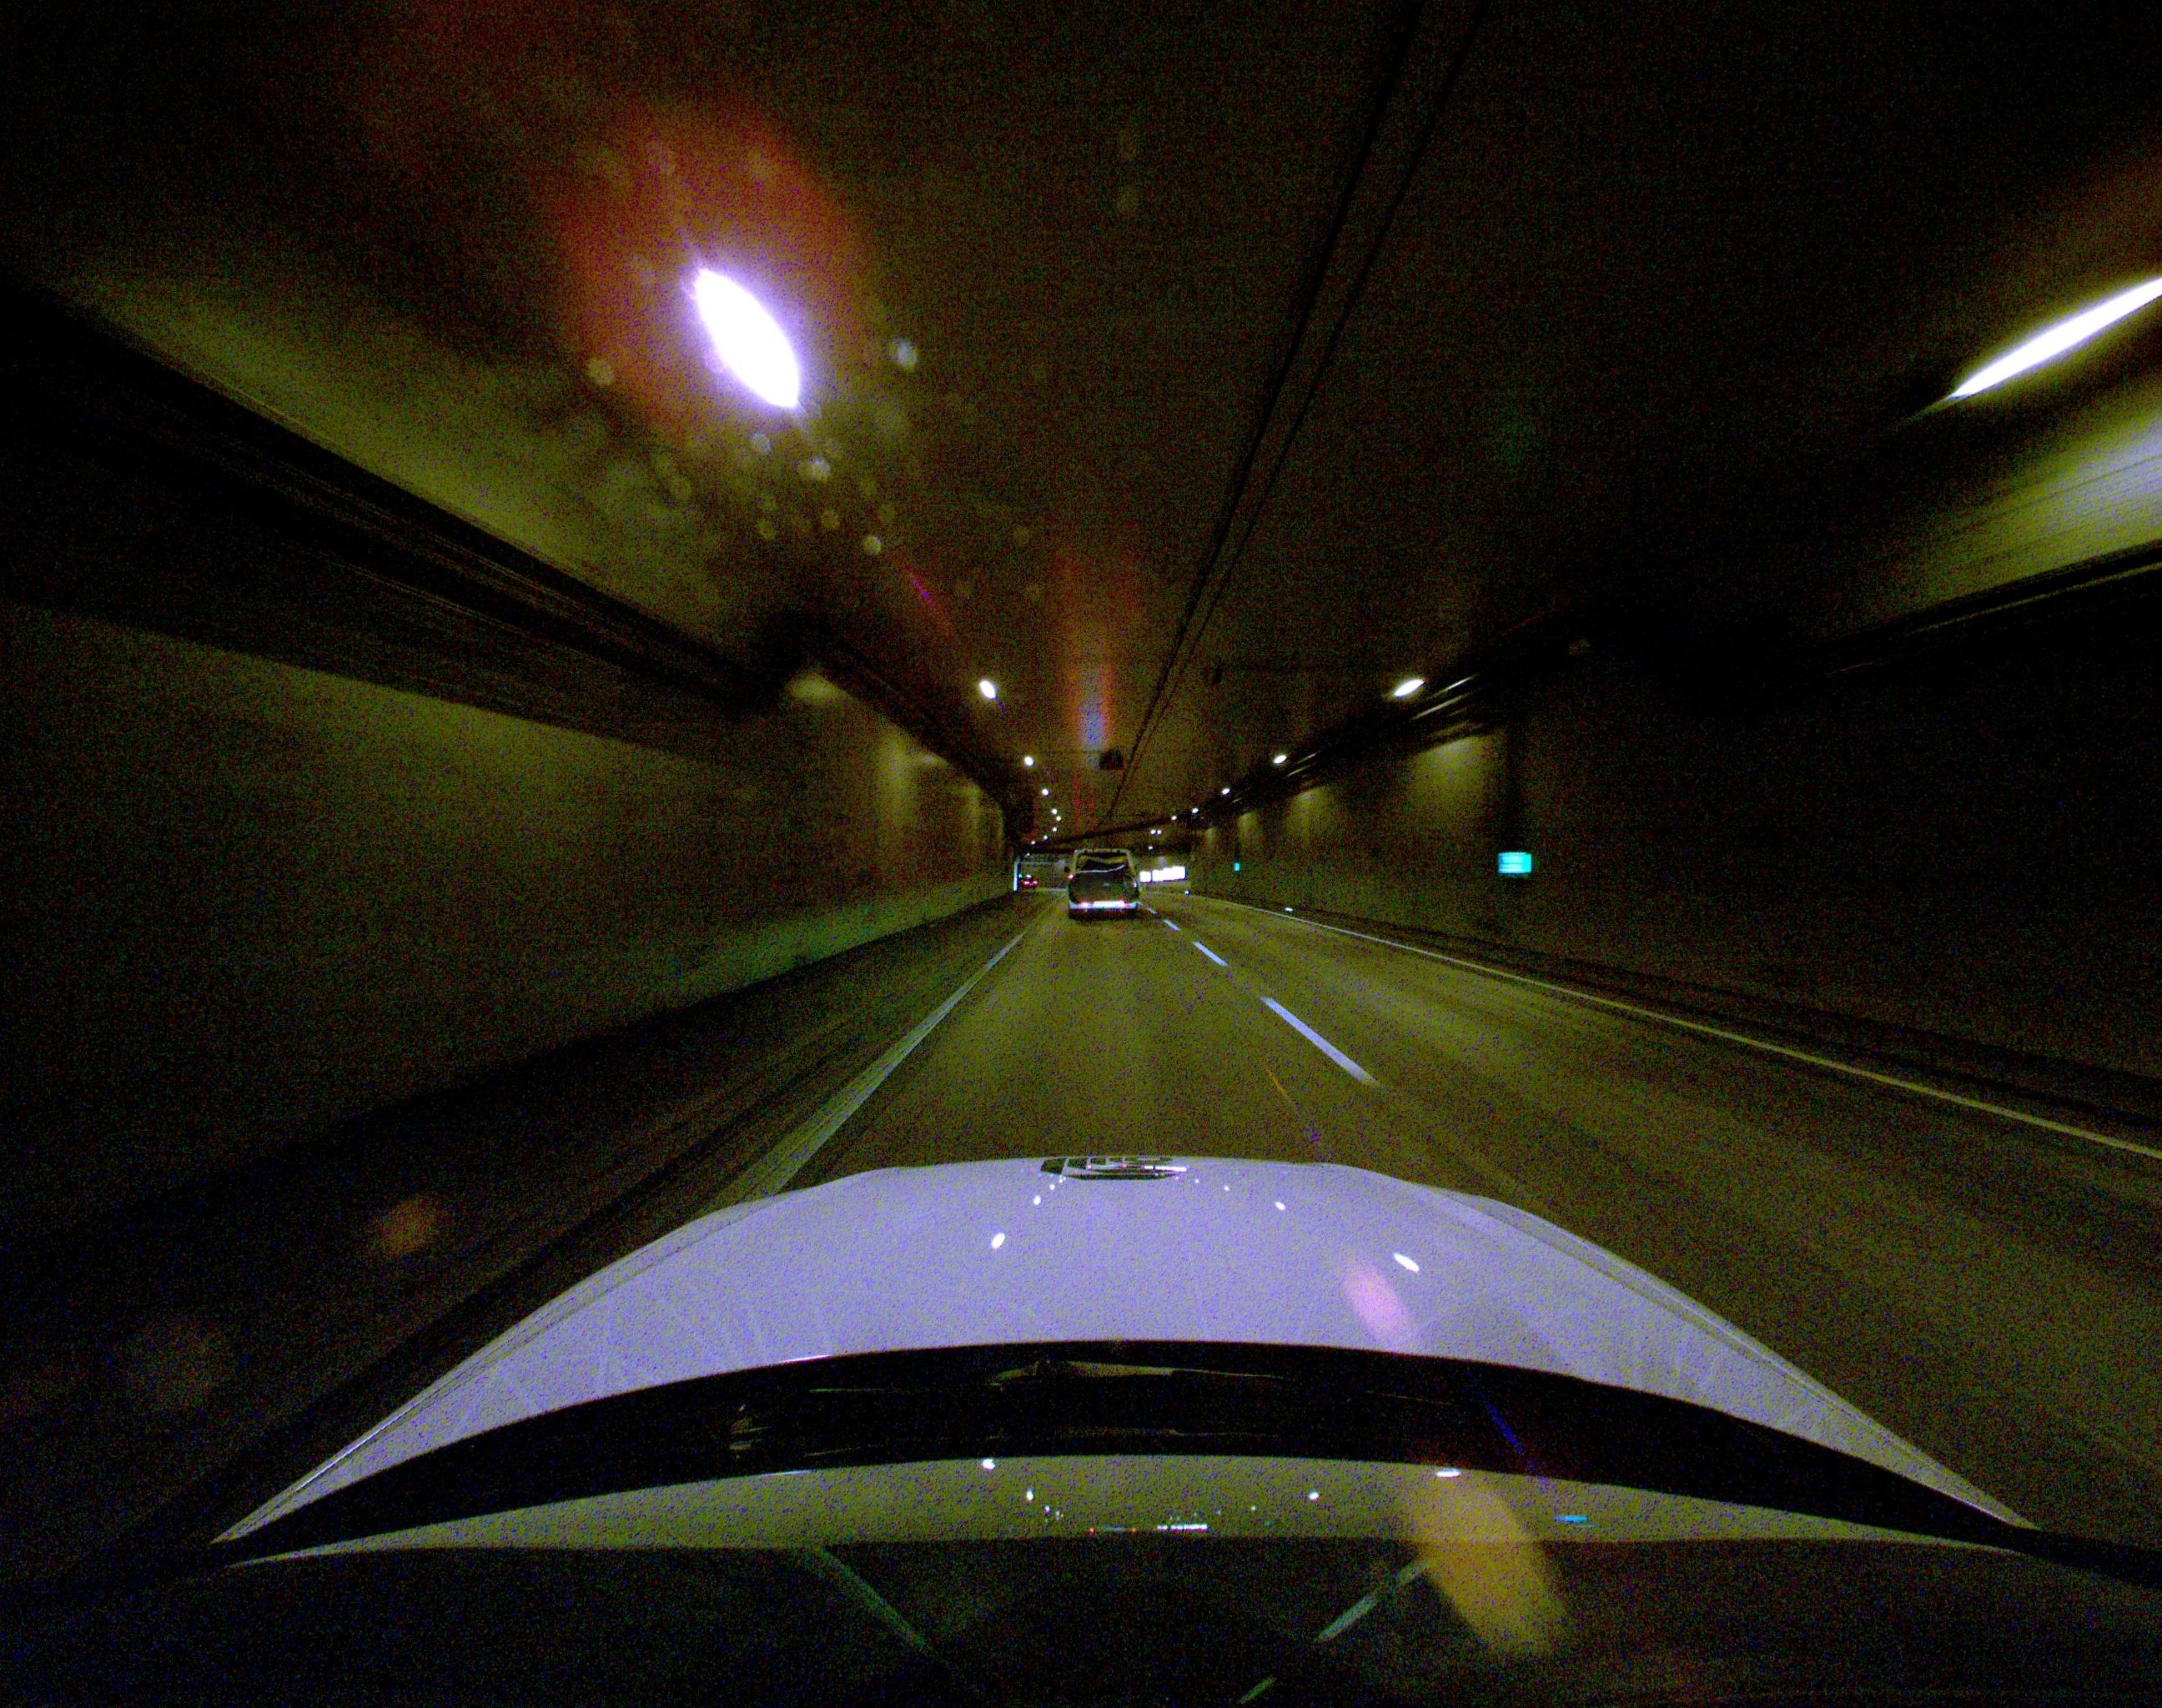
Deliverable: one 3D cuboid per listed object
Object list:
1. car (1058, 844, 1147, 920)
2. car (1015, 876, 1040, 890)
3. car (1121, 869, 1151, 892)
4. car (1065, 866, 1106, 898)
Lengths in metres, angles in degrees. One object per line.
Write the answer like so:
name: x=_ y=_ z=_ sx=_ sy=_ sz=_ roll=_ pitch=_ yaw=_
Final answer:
car: x=0.463 y=0.729 z=22.876 sx=1.990 sy=1.847 sz=5.293 roll=-1 pitch=-1 yaw=-4
car: x=-6.729 y=3.612 z=102.470 sx=1.831 sy=1.630 sz=3.811 roll=2 pitch=-2 yaw=-25
car: x=4.129 y=1.996 z=61.886 sx=1.602 sy=1.630 sz=3.346 roll=-1 pitch=-1 yaw=-8
car: x=0.163 y=1.275 z=37.128 sx=1.600 sy=1.395 sz=3.270 roll=0 pitch=-2 yaw=-5
